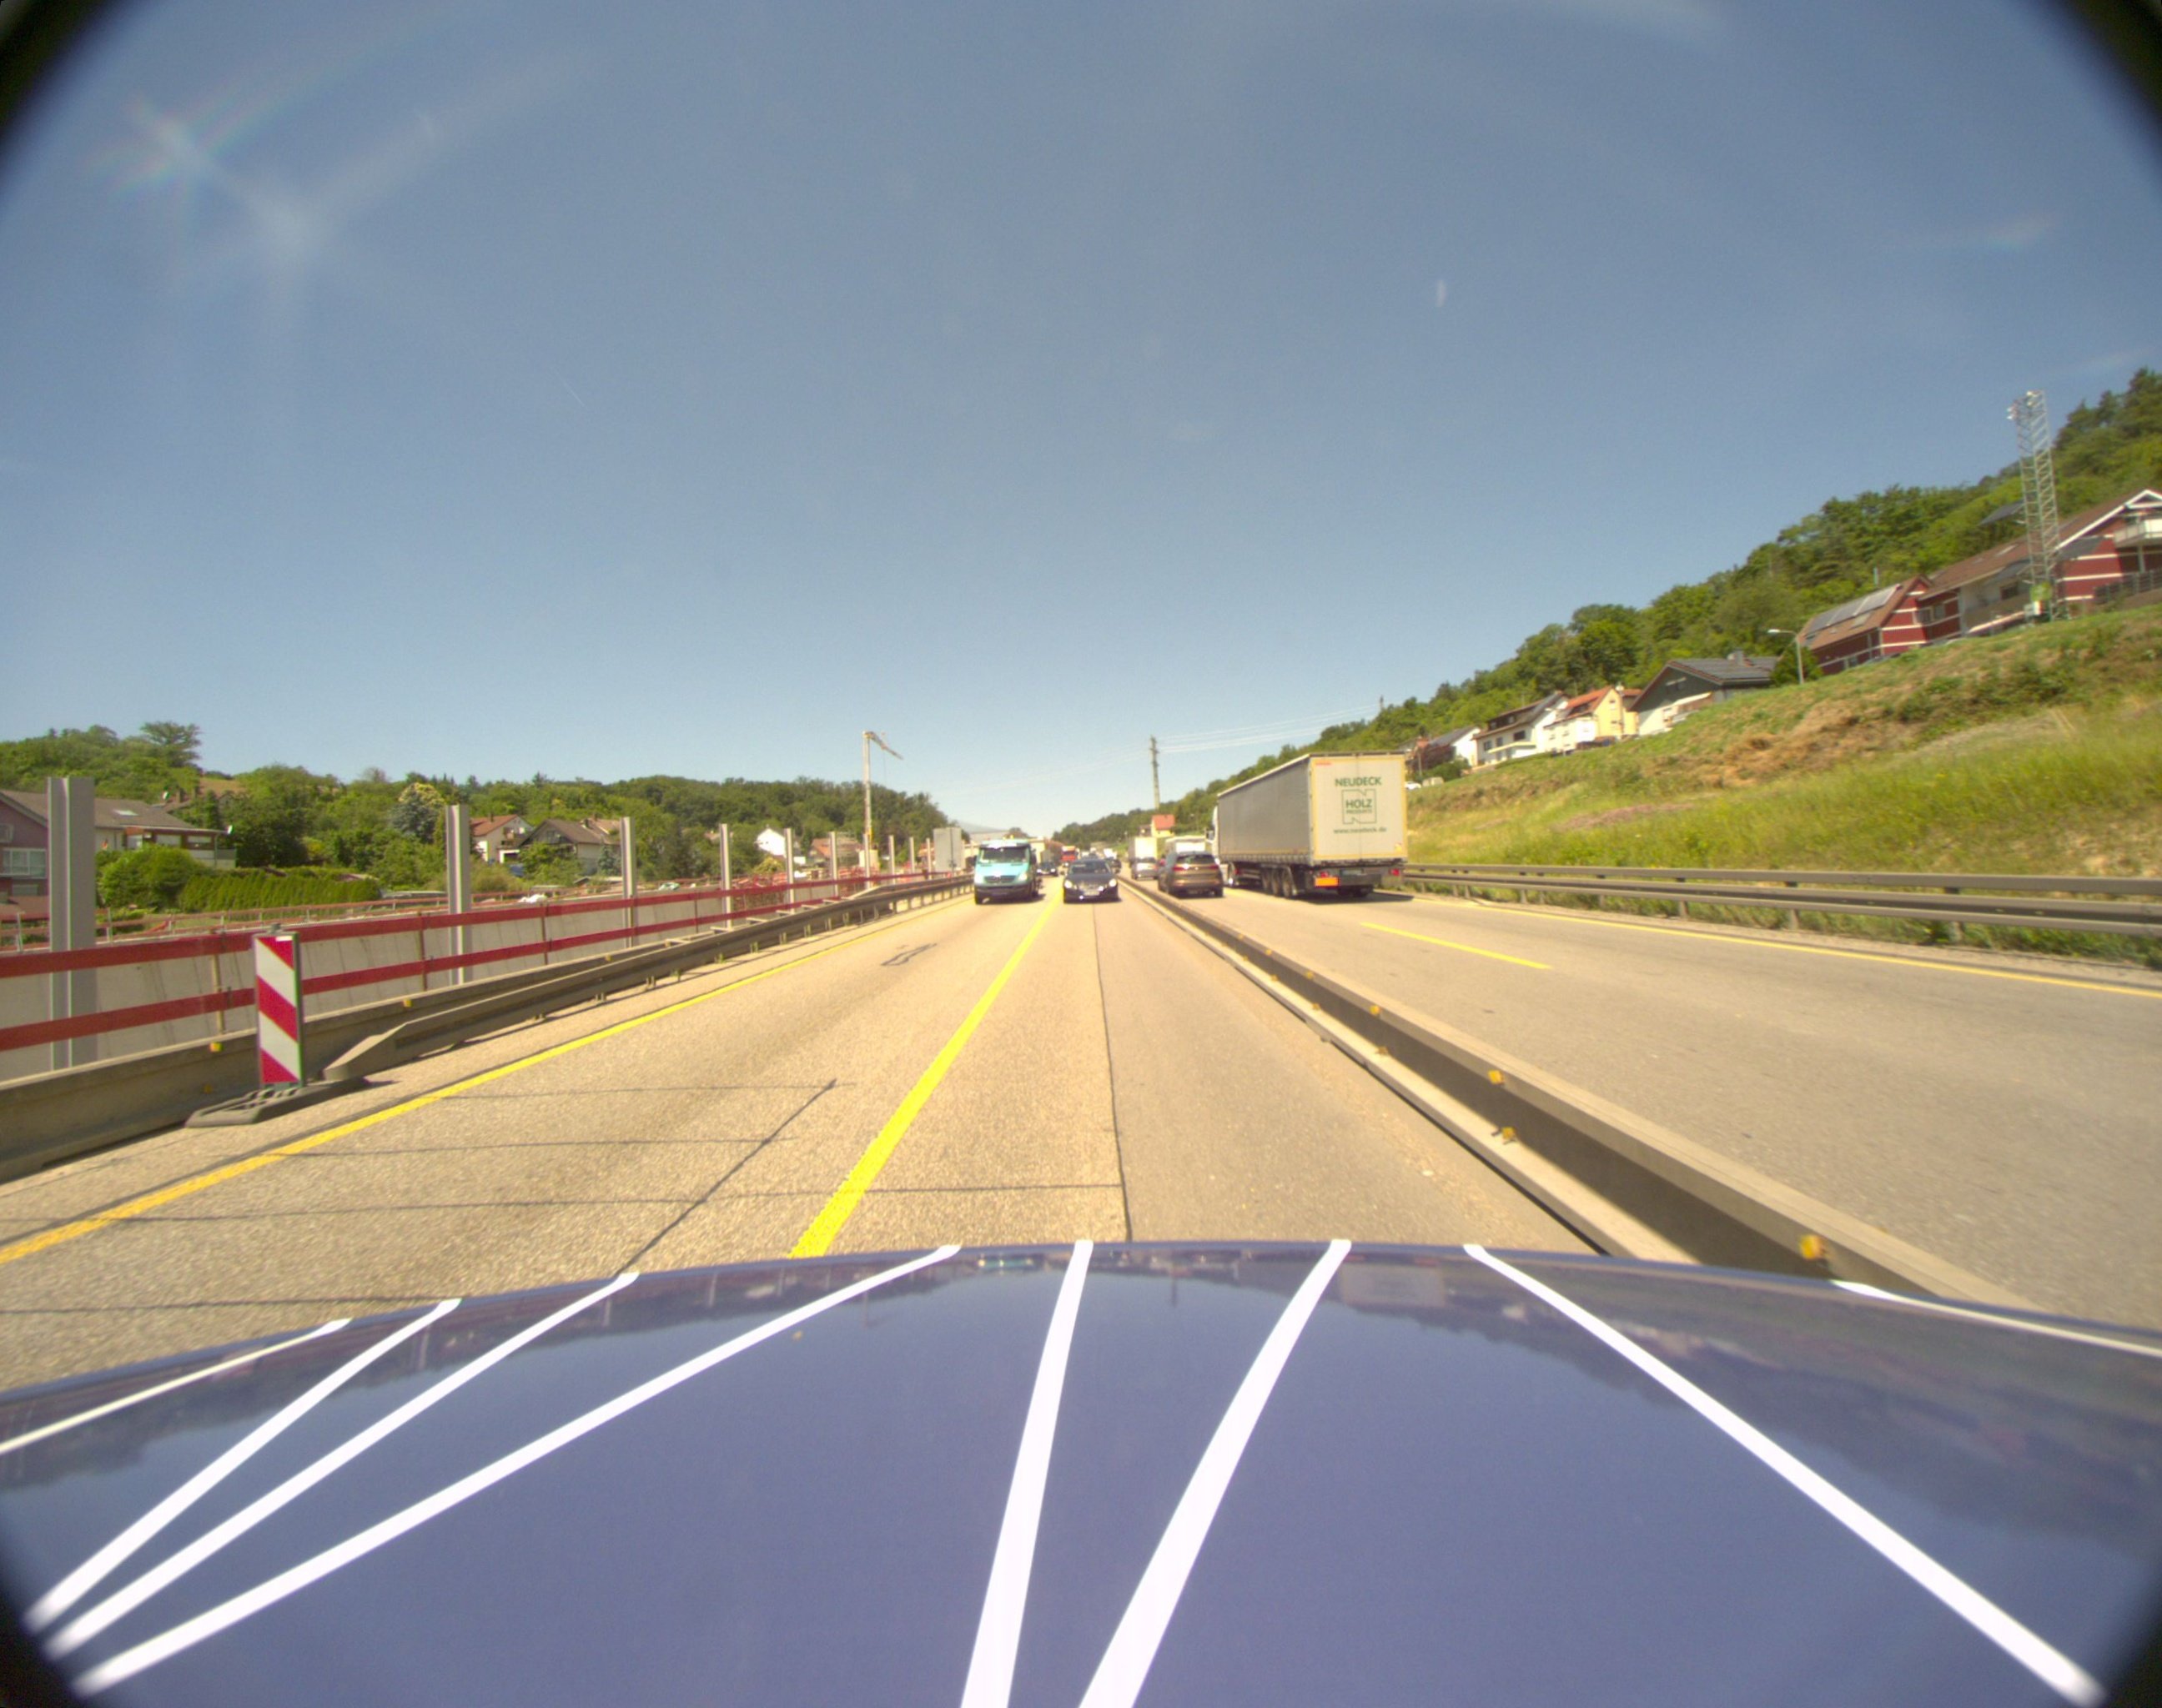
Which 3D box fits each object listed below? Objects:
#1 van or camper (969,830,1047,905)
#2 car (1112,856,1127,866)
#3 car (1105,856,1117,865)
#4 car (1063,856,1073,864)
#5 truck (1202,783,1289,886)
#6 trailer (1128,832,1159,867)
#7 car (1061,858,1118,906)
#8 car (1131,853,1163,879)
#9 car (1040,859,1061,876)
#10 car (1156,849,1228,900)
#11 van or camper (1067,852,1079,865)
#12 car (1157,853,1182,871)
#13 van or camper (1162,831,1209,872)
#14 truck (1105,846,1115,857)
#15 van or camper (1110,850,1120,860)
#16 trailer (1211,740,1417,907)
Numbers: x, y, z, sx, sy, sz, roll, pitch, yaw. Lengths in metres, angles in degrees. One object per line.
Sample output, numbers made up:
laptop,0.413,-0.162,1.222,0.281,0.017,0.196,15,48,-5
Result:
van or camper,-2.632,0.459,29.436,2.097,2.458,7.671,-2,0,1
car,5.282,0.931,105.352,1.772,1.355,4.411,-2,0,0
car,4.957,1.078,126.274,1.758,1.499,4.000,-4,0,1
car,-2.312,1.028,136.439,1.679,1.346,3.486,-4,0,1
truck,7.296,-0.824,34.329,2.781,4.262,4.676,-2,0,0
trailer,7.940,-0.492,98.221,2.864,4.100,13.437,-2,0,0
car,0.296,0.914,26.283,1.747,1.420,4.000,-3,0,1
car,4.088,0.722,47.146,1.633,1.470,3.379,-2,0,0
car,-2.652,1.157,66.513,1.611,1.324,3.496,-3,0,1
car,3.814,0.663,26.765,1.853,1.577,4.174,-2,0,0
van or camper,-1.611,0.933,153.087,2.321,2.513,4.527,-4,0,1
car,8.019,0.692,69.381,1.721,1.542,4.264,-2,0,0
van or camper,7.600,-0.153,56.106,2.340,2.761,7.516,-2,0,0
truck,9.299,-0.893,243.953,2.386,3.411,9.304,-1,-1,-2
van or camper,9.350,0.331,206.961,2.382,2.634,6.051,-2,0,1
trailer,7.294,-0.801,26.864,2.817,4.261,14.033,-2,0,0
